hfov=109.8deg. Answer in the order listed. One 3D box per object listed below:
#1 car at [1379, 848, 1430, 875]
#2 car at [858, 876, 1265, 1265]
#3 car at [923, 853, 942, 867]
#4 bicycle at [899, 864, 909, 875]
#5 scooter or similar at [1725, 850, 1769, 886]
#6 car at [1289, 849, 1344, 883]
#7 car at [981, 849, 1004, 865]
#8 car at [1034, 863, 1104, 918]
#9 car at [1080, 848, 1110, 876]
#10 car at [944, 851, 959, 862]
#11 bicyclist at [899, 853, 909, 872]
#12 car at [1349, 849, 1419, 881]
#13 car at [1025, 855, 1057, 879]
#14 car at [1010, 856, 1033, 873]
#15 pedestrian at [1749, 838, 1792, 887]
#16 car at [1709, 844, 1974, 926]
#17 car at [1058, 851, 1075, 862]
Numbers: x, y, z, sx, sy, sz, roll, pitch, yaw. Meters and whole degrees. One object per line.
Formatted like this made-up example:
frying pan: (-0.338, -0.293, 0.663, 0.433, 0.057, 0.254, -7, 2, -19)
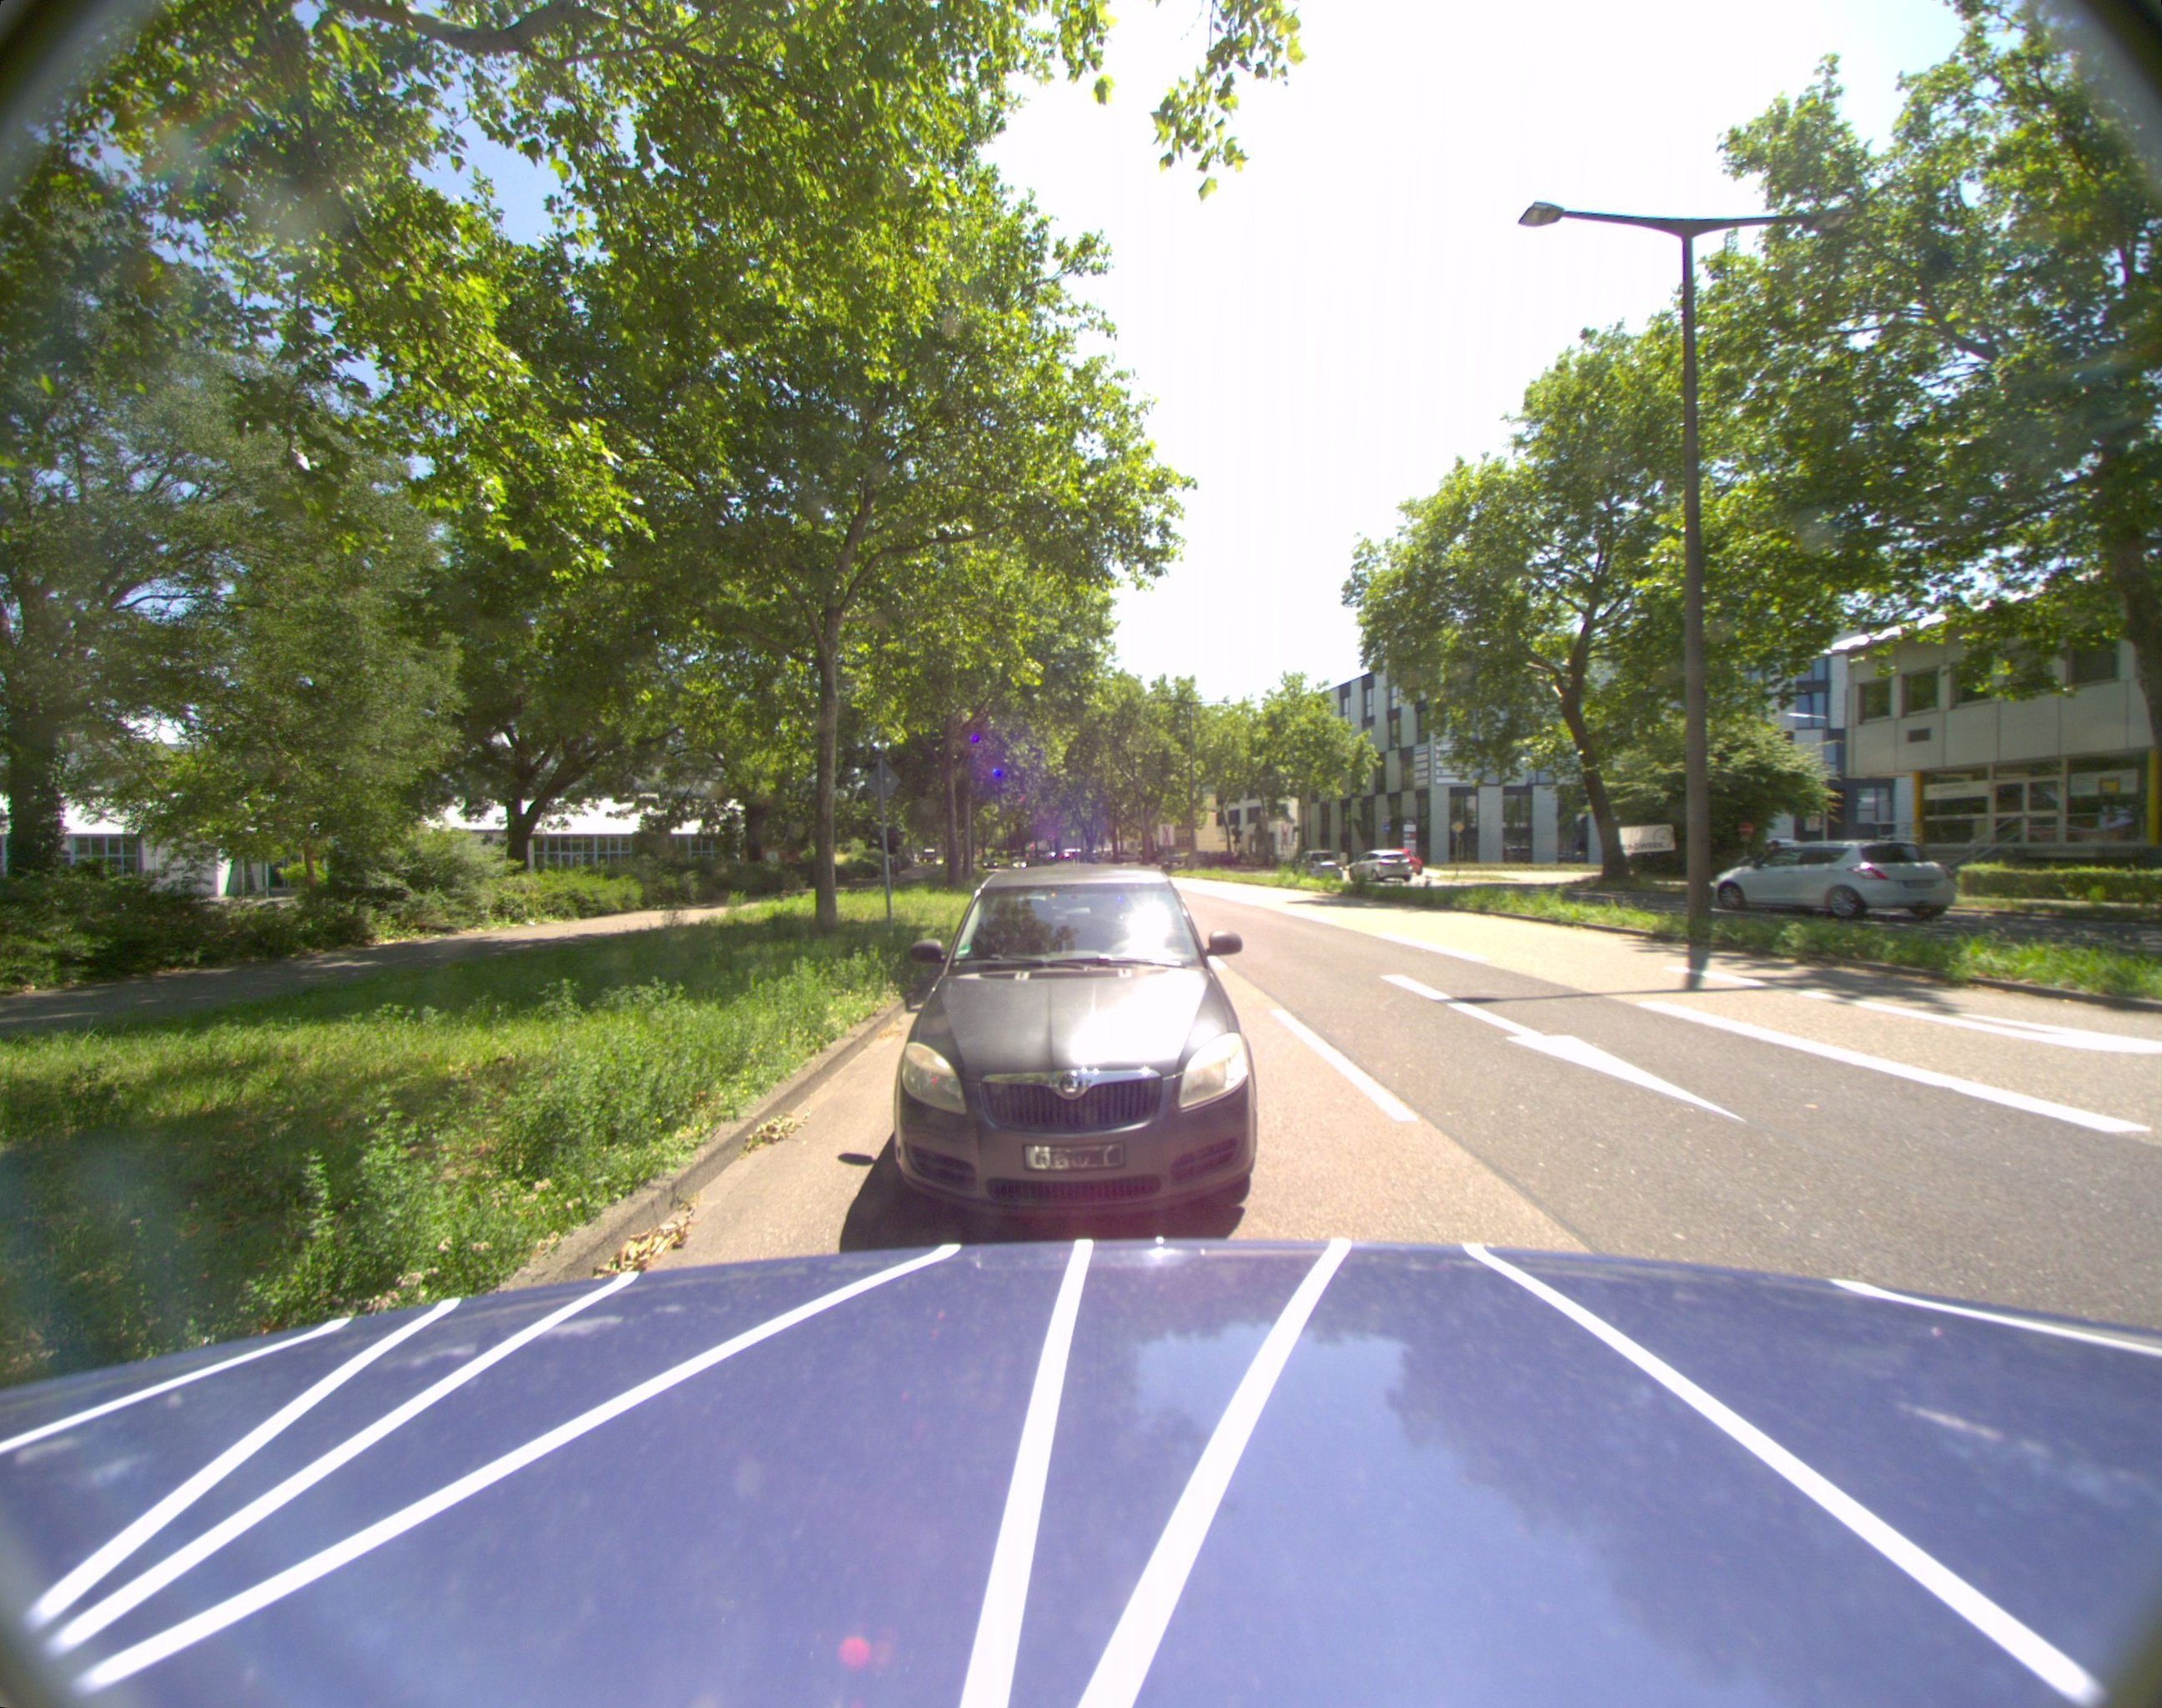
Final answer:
car: (18.458, 0.407, 43.242, 1.672, 1.453, 3.538, 0, 0, 41)
car: (-0.054, 0.955, 5.075, 1.654, 1.453, 3.865, -1, 0, 1)
car: (-29.075, 1.100, 148.350, 2.922, 2.639, 6.356, -1, 1, -17)
bicycle: (-12.524, 1.115, 53.659, 0.465, 0.759, 1.668, 0, -1, -5)
scooter or similar: (21.990, 0.459, 25.106, 0.680, 1.157, 0.859, -1, 1, -1)
car: (11.140, 0.529, 36.037, 1.537, 1.519, 2.853, -1, 0, -5)
car: (-10.931, 0.368, 93.935, 2.002, 1.871, 3.993, -1, 0, -19)
car: (-0.282, 0.963, 21.615, 1.791, 1.325, 3.742, -2, 0, 1)
car: (0.917, 0.495, 50.460, 1.859, 1.745, 4.648, -1, 0, 0)
car: (-21.471, 0.457, 126.129, 2.001, 1.783, 3.994, -1, 0, -17)
bicyclist: (-12.505, 0.626, 53.602, 0.601, 1.331, 0.666, 0, 0, -4)
car: (14.281, 0.495, 36.014, 1.756, 1.435, 3.671, -1, 0, -2)
car: (-2.640, 0.833, 50.971, 1.878, 1.448, 3.785, -2, 0, 0)
car: (-5.294, 0.885, 66.979, 1.624, 1.437, 3.648, -1, 0, -11)
pedestrian: (22.032, 0.266, 24.276, 0.643, 1.551, 0.791, -1, 1, -2)
car: (15.174, 0.545, 15.482, 1.736, 1.450, 3.673, -1, 0, 0)
car: (-2.315, 0.356, 117.573, 1.955, 1.600, 3.996, -1, 0, -11)
